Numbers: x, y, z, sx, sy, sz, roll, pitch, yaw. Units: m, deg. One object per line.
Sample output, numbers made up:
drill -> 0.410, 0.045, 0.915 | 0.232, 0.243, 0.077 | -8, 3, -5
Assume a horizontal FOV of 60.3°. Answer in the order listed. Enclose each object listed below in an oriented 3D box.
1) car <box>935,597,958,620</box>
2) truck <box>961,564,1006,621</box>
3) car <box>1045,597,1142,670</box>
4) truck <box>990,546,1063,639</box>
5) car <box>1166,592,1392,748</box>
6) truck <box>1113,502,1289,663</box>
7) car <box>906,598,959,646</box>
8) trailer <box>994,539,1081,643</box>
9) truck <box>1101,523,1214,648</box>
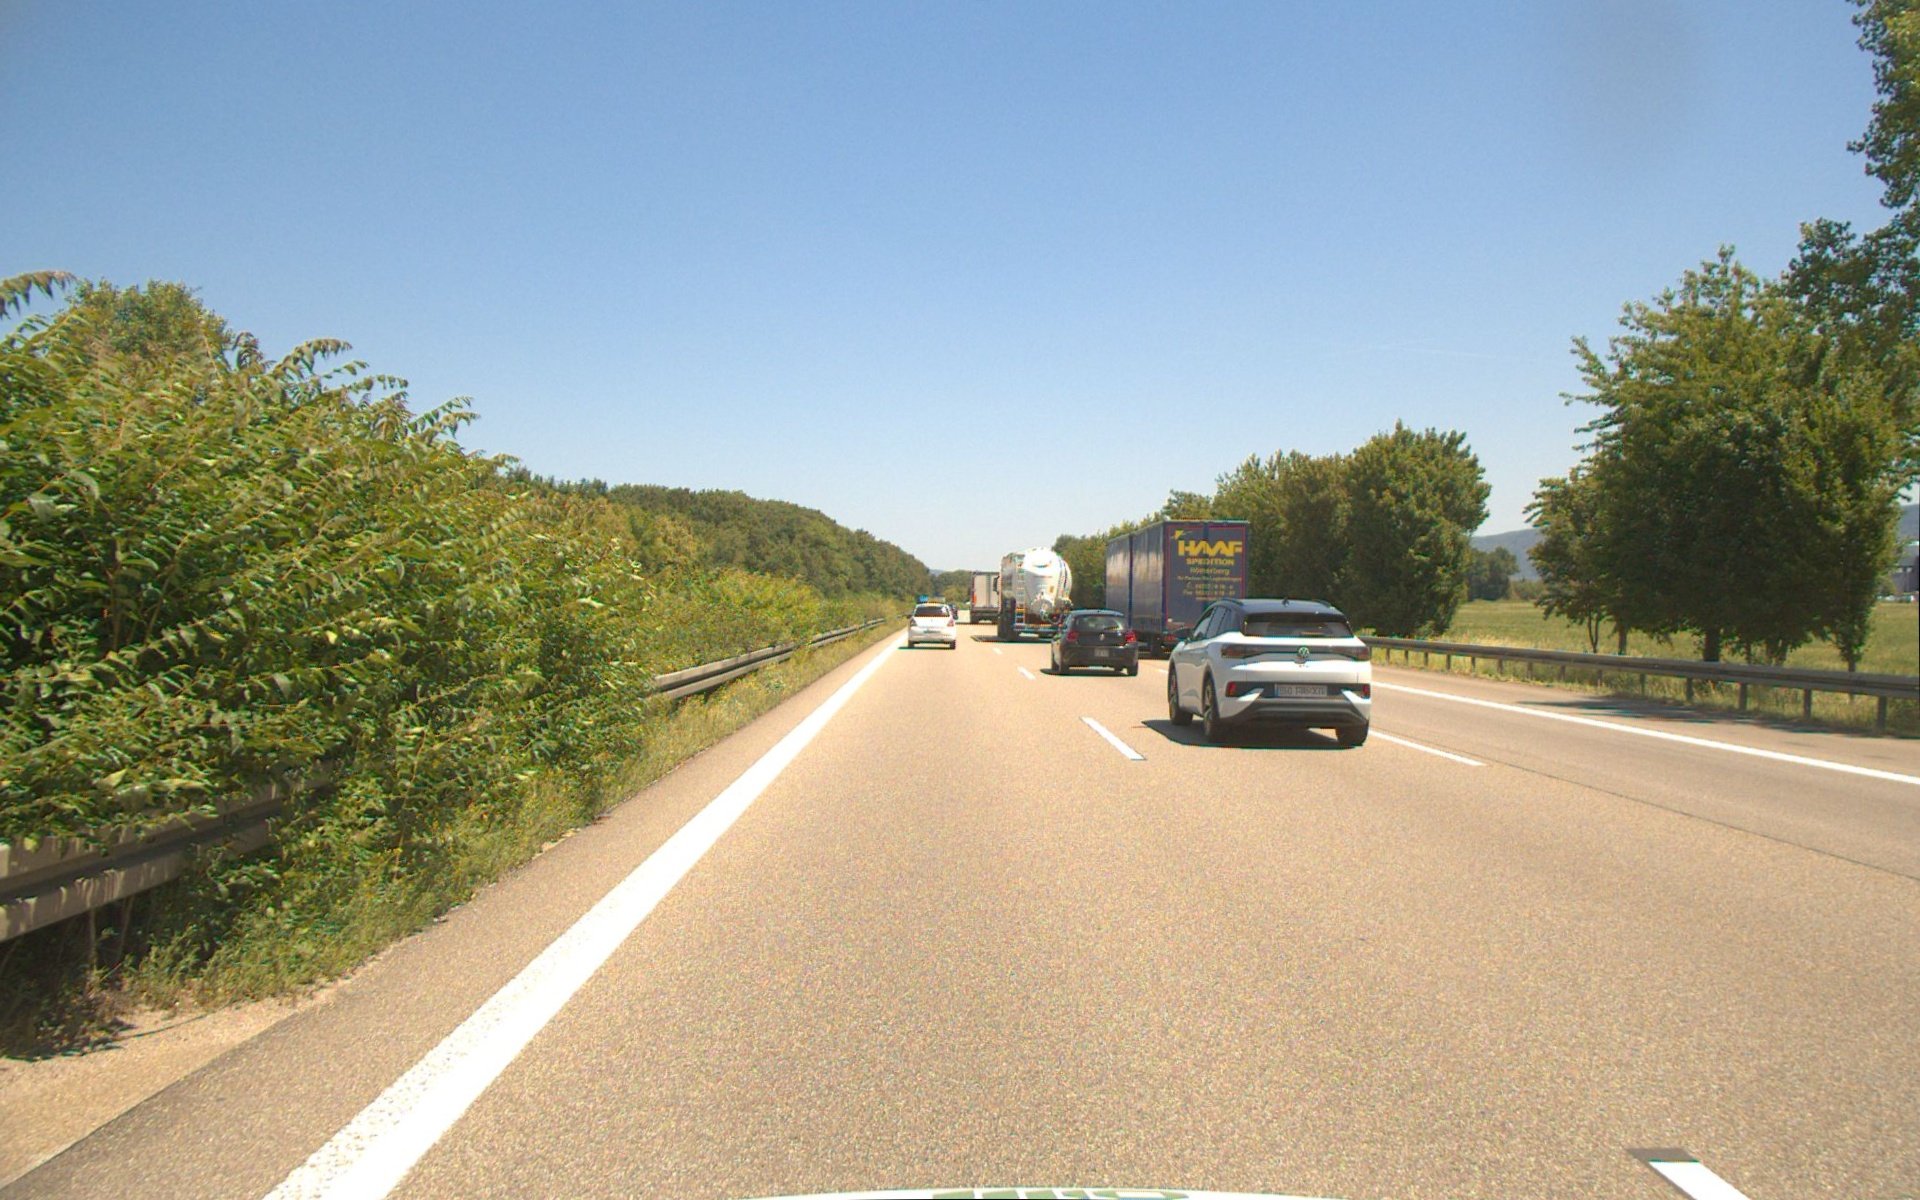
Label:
car -> -1.483, 0.898, 182.213 | 2.424, 2.395, 5.181 | 1, 0, 0
truck -> 1.838, -0.598, 133.723 | 3.325, 4.287, 12.081 | 1, 0, 0
car -> 2.991, 0.717, 37.690 | 1.813, 1.549, 3.956 | 1, 0, -1
truck -> 3.104, -0.350, 79.109 | 2.853, 4.150, 7.192 | 1, 0, -2
car -> 3.699, 0.745, 19.923 | 1.766, 1.631, 4.379 | 1, 0, -1
truck -> 7.129, -0.477, 51.764 | 3.045, 4.211, 15.509 | 1, 0, 0
car -> -0.977, 0.727, 57.397 | 1.763, 1.579, 3.608 | 1, 0, -2
trailer -> 3.277, -0.372, 73.085 | 2.853, 4.140, 12.414 | 1, 0, -2
truck -> 7.071, -0.495, 60.417 | 3.045, 4.211, 8.055 | 1, 0, 0
